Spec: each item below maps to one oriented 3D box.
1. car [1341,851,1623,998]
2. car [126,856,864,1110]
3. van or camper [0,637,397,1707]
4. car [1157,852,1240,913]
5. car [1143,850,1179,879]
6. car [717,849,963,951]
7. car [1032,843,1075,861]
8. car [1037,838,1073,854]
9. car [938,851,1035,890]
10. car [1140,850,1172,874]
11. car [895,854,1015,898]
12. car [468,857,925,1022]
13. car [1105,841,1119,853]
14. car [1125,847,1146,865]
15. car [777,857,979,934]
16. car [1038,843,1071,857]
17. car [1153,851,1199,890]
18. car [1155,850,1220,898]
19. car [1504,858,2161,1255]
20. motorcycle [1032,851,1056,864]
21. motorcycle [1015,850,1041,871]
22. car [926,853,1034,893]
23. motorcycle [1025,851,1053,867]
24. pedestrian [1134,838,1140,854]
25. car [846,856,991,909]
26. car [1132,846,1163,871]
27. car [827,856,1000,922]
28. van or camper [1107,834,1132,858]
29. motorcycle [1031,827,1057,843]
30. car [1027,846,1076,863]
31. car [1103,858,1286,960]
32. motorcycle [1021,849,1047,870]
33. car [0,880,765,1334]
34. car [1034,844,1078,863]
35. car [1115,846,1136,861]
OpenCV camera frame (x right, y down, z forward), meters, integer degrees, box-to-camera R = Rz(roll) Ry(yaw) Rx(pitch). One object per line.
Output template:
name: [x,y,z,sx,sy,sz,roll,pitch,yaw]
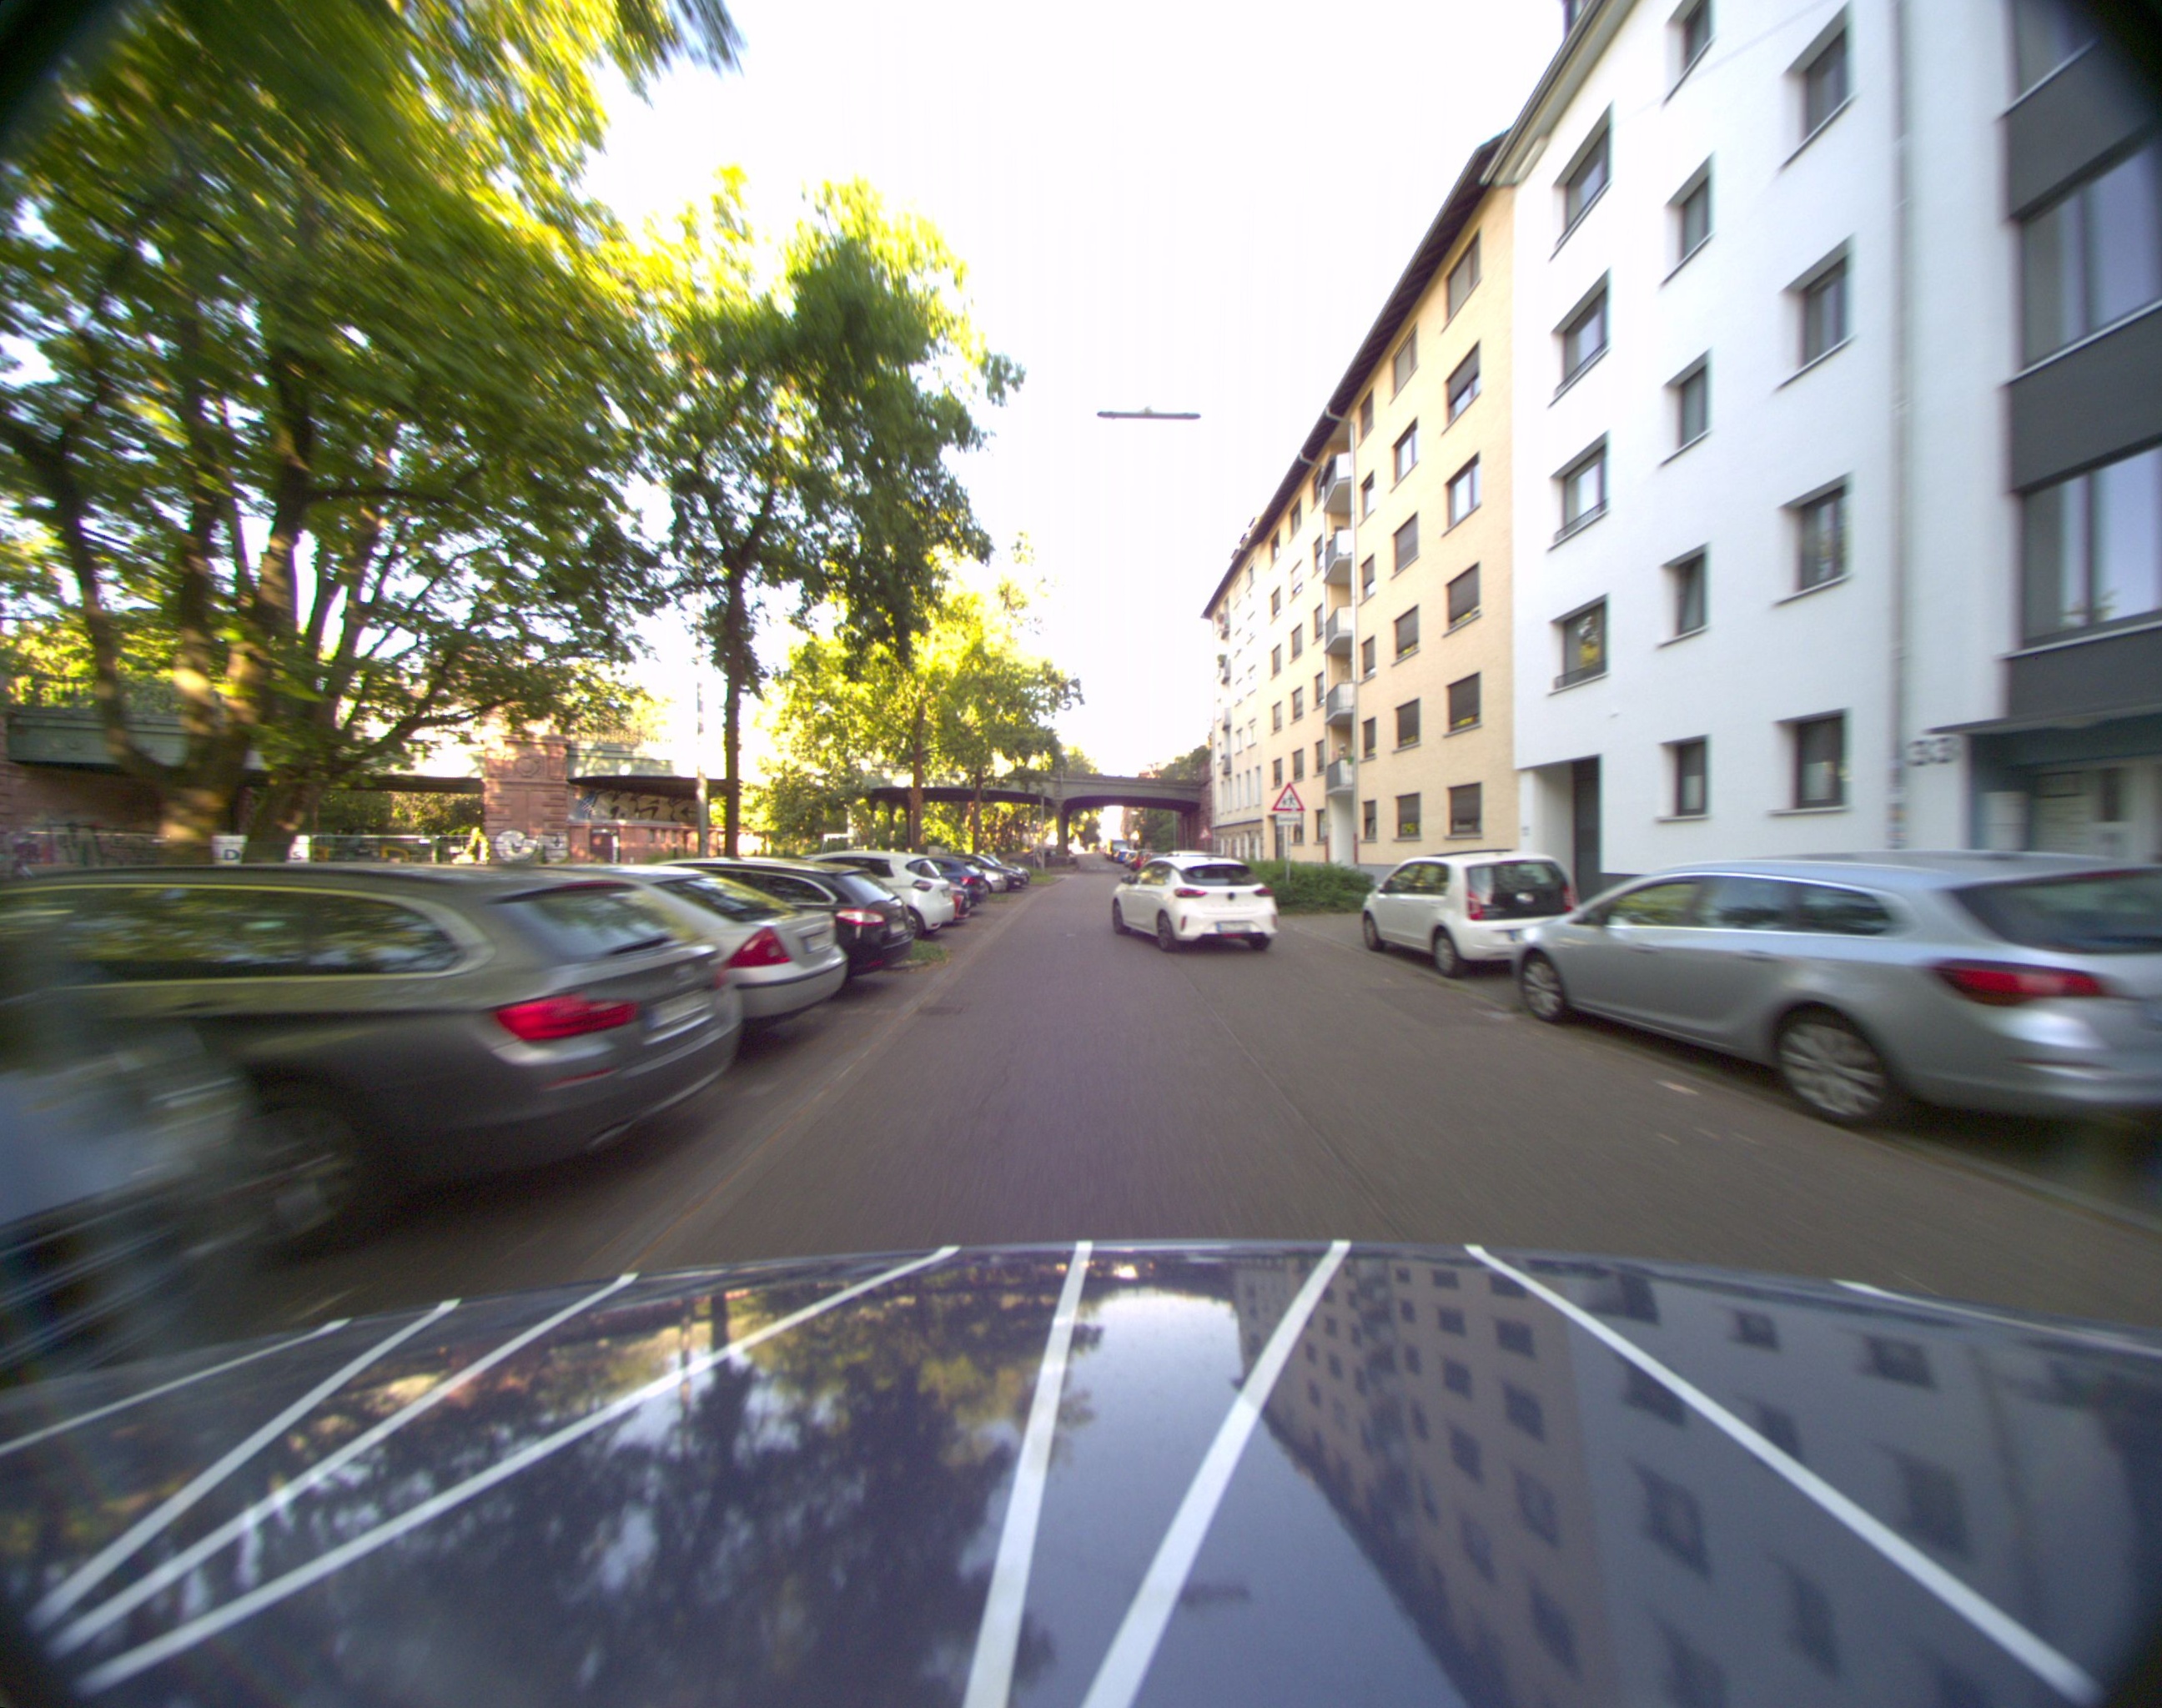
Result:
car: [5.089,0.762,10.335,1.672,1.499,3.999,-4,1,0]
car: [-4.127,0.841,5.832,4.409,1.569,1.664,0,2,3]
van or camper: [-4.302,0.679,0.821,5.426,2.015,2.030,0,0,3]
car: [3.109,0.697,20.828,1.743,1.471,4.000,0,1,2]
car: [4.449,0.563,42.771,1.641,1.458,4.000,2,1,1]
car: [-4.142,0.769,13.481,3.791,1.637,1.664,0,2,1]
car: [-2.913,-0.233,81.816,4.544,1.686,1.906,-2,2,-1]
car: [-3.359,-1.030,99.053,4.683,1.914,1.871,2,2,-1]
car: [-3.792,0.650,30.887,3.793,1.464,1.634,0,2,-3]
car: [4.725,0.470,48.088,1.693,1.433,3.999,0,1,1]
car: [-4.239,0.732,25.913,3.791,1.394,1.663,0,2,0]
car: [-4.184,0.861,8.655,4.408,1.569,1.664,0,2,5]
car: [4.142,-0.990,101.537,1.703,1.489,4.548,1,2,2]
car: [5.099,0.191,71.460,1.599,1.538,3.913,1,1,-2]
car: [-4.205,0.831,16.119,3.791,1.465,1.664,0,2,3]
car: [-3.205,-0.486,91.915,3.997,1.565,1.586,-2,2,-1]
car: [3.858,0.633,31.459,1.570,1.509,3.782,0,1,2]
car: [3.555,0.624,26.011,1.707,1.516,3.773,0,1,0]
car: [4.939,0.846,5.234,1.672,1.463,4.283,-4,1,1]
motorcycle: [-3.003,0.280,61.364,1.729,1.024,0.810,-3,3,-34]
motorcycle: [-3.616,0.449,52.119,1.601,1.400,0.713,-1,3,21]
car: [-3.734,0.692,28.588,3.791,1.394,1.827,0,2,2]
motorcycle: [-3.164,0.382,57.320,1.839,1.126,0.849,-3,3,-23]
pedestrian: [7.052,-1.031,95.770,0.639,1.904,1.046,-2,3,-6]
car: [-4.537,0.777,21.653,3.793,1.394,1.765,0,2,-3]
car: [4.832,0.293,55.625,1.721,1.698,4.321,0,1,-1]
car: [-4.032,0.815,18.636,3.790,1.439,1.664,0,2,6]
van or camper: [4.377,-0.925,87.303,2.242,2.509,6.417,-2,2,-3]
motorcycle: [-3.083,-1.606,63.011,1.938,1.231,0.902,-3,3,-24]
car: [-2.820,0.071,73.980,4.596,1.597,1.734,0,2,4]
car: [1.702,0.804,12.816,1.674,1.422,3.995,2,-1,-13]
motorcycle: [-3.251,0.405,53.025,1.601,1.400,0.713,-1,3,21]
car: [-4.089,0.933,3.581,4.411,1.492,1.836,0,2,-2]
car: [-2.562,-0.079,76.747,4.387,1.699,1.905,-2,2,-4]
car: [4.723,-0.096,81.176,1.749,1.458,4.372,-2,2,-3]
